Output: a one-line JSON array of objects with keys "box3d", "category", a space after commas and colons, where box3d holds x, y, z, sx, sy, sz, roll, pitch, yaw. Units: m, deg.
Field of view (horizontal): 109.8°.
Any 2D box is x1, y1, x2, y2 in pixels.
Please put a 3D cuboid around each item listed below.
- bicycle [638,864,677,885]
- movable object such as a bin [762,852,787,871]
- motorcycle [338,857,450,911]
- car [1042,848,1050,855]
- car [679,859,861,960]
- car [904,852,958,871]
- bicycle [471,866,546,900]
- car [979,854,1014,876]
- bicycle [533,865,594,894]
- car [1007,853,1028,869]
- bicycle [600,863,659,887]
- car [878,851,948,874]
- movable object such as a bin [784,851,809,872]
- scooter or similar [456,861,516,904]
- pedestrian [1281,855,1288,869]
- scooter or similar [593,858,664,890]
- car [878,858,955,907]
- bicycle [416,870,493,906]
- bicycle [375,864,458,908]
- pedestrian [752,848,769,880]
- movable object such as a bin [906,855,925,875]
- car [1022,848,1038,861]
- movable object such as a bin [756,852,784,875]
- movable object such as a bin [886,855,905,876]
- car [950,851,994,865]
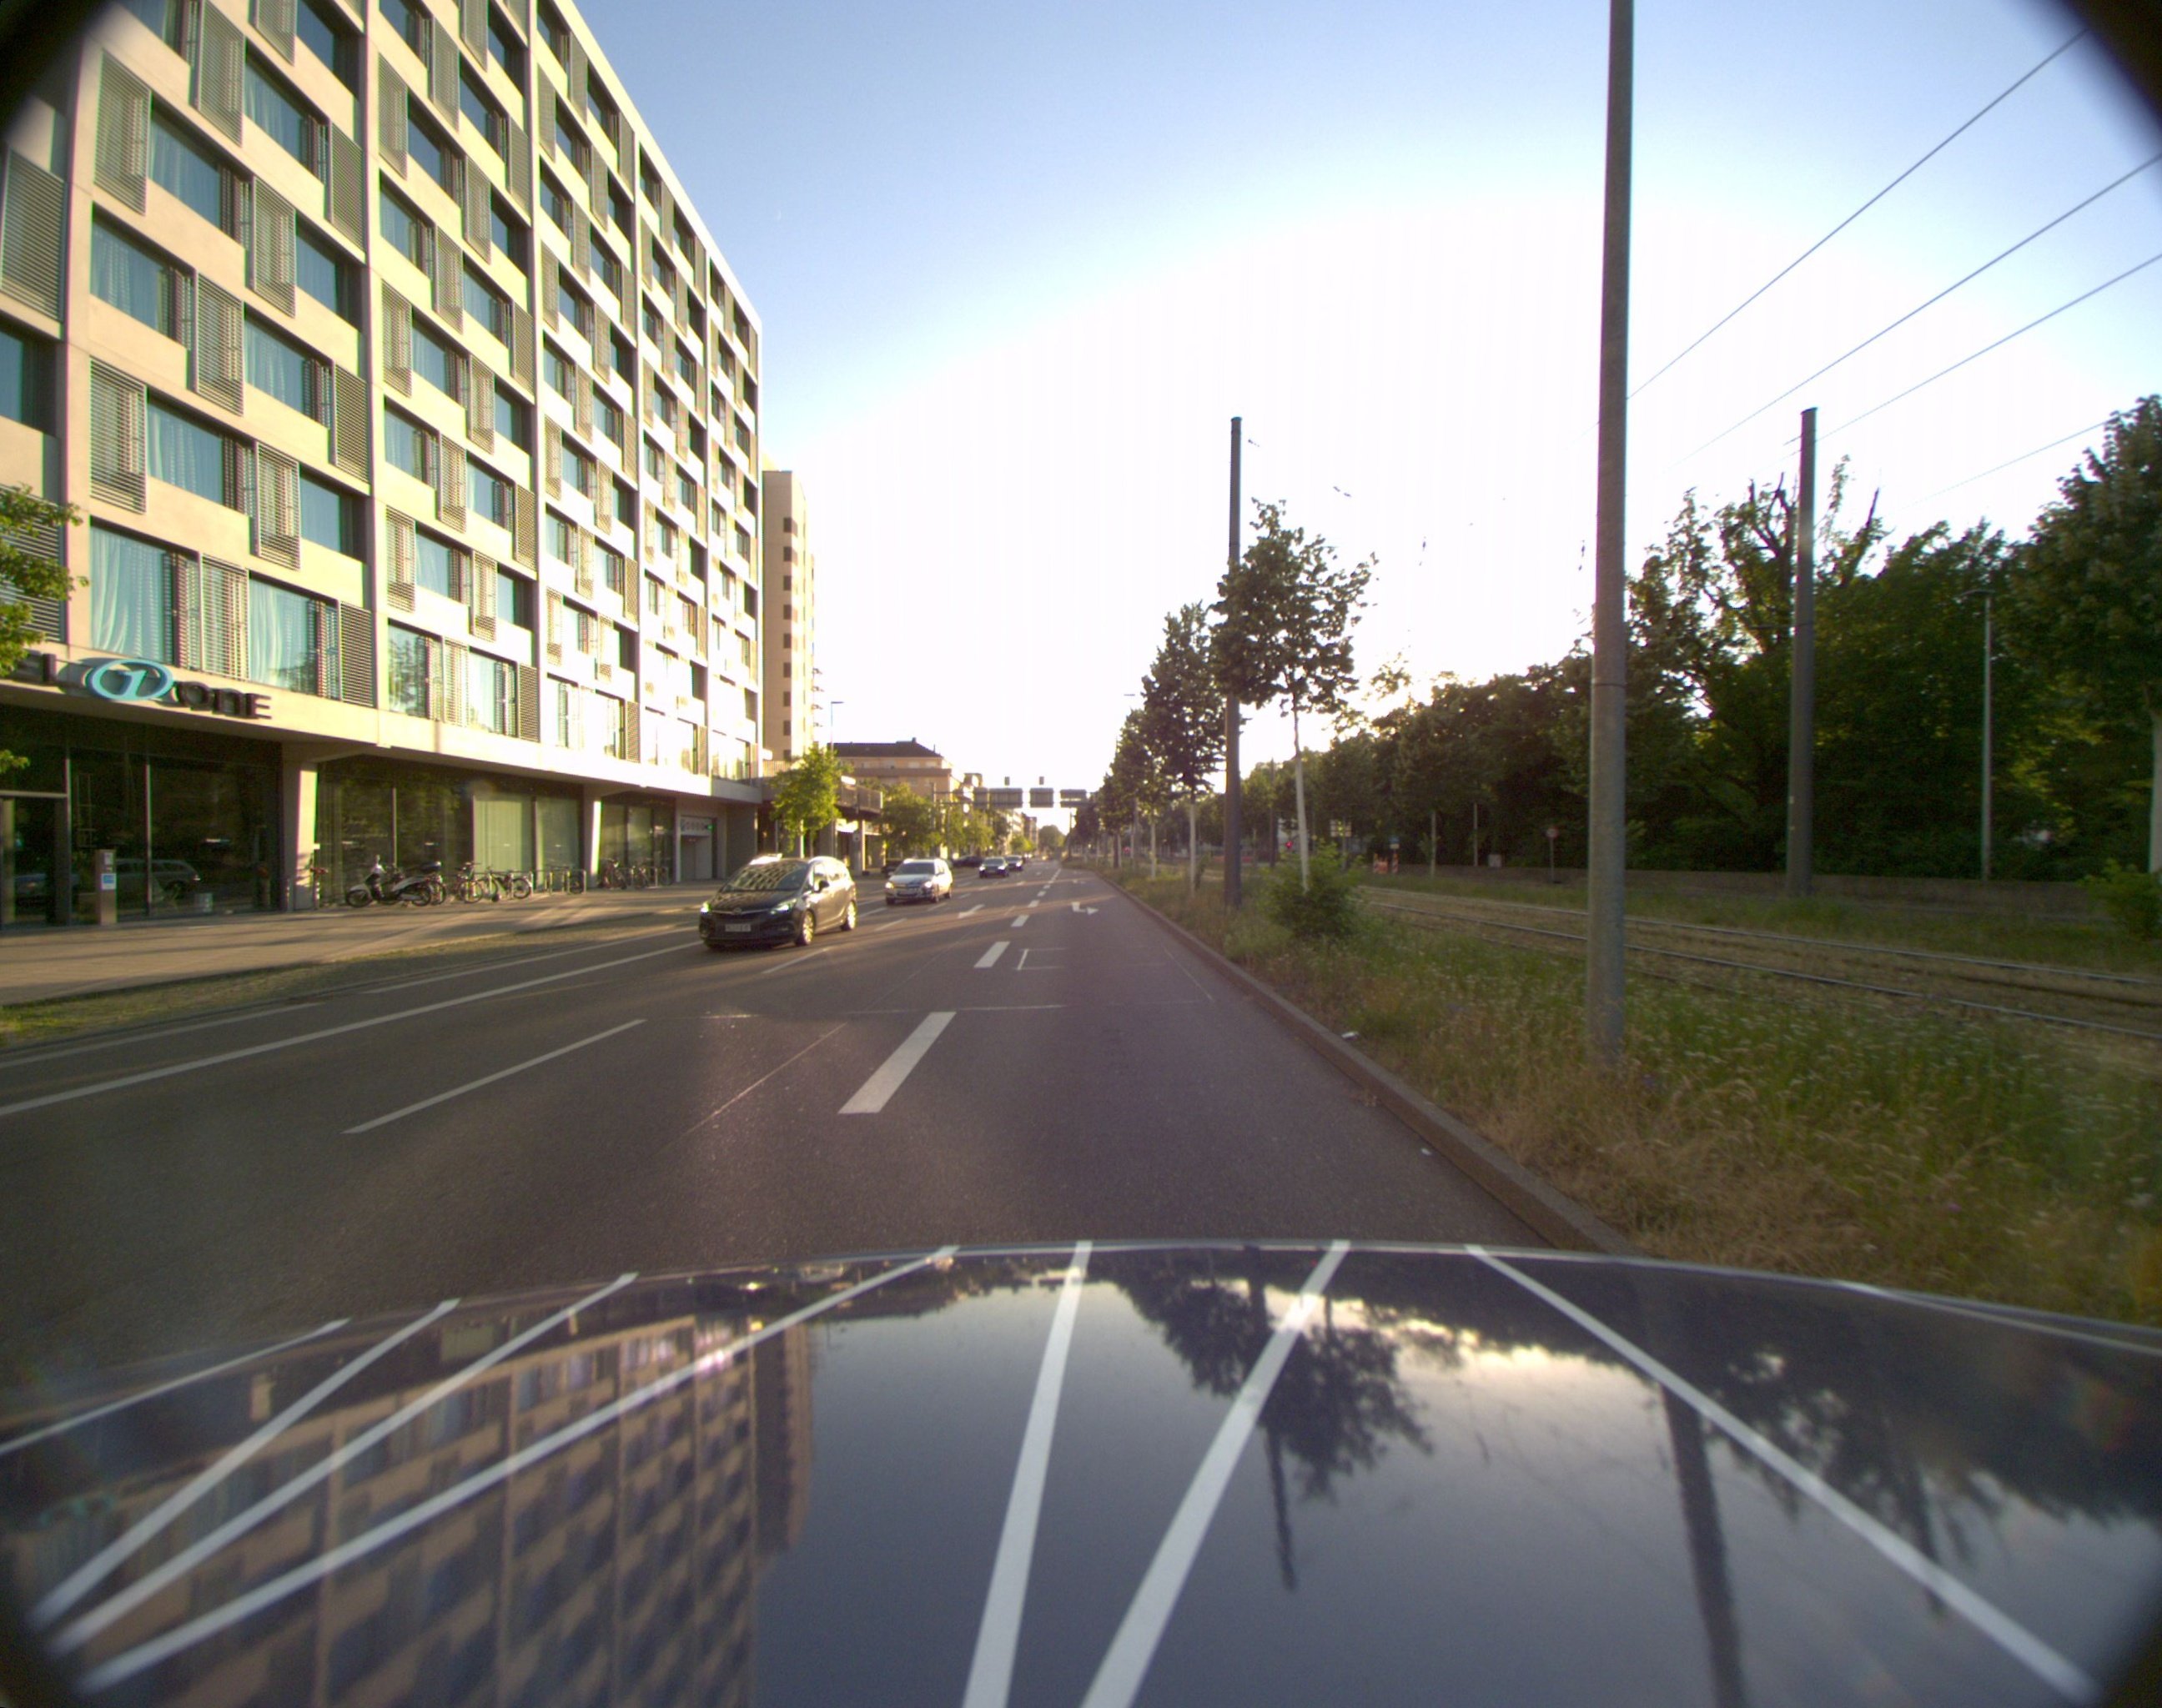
[{"box3d": [-18.511, 0.900, 33.239, 1.425, 0.886, 0.457, 0, 1, -2], "category": "bicycle"}, {"box3d": [-20.300, 0.483, 50.381, 1.185, 1.291, 1.304, 0, 0, -2], "category": "movable object such as a bin"}, {"box3d": [-18.224, 0.786, 20.207, 2.120, 1.378, 0.671, 1, 0, -15], "category": "motorcycle"}, {"box3d": [-8.892, -0.623, 192.254, 1.727, 1.910, 4.292, -2, 0, -5], "category": "car"}, {"box3d": [-5.841, 0.951, 14.915, 1.828, 1.589, 4.366, -2, 0, -2], "category": "car"}, {"box3d": [-12.376, 0.635, 62.728, 3.999, 1.408, 1.746, 2, 1, -39], "category": "car"}, {"box3d": [-18.132, 0.920, 24.083, 1.890, 1.004, 0.565, 2, 1, -3], "category": "bicycle"}, {"box3d": [-5.922, 0.746, 53.734, 1.915, 1.387, 4.276, -2, 0, 1], "category": "car"}, {"box3d": [-18.231, 0.896, 26.768, 1.704, 0.980, 0.550, 2, 0, -4], "category": "bicycle"}, {"box3d": [-5.953, 0.642, 71.075, 1.863, 1.387, 4.275, -2, 0, -5], "category": "car"}, {"box3d": [-18.839, 0.855, 31.722, 2.022, 0.952, 0.620, 1, 1, -7], "category": "bicycle"}, {"box3d": [-12.343, 0.636, 56.052, 4.679, 1.500, 1.933, 2, 1, -40], "category": "car"}, {"box3d": [-18.928, 0.471, 50.516, 1.185, 1.315, 1.266, 3, 0, -2], "category": "movable object such as a bin"}, {"box3d": [-17.709, 0.855, 22.623, 1.271, 1.226, 0.608, 2, 0, -5], "category": "scooter or similar"}, {"box3d": [23.467, 0.927, 87.660, 0.670, 1.597, 0.678, -2, -4, 13], "category": "pedestrian"}, {"box3d": [-17.943, 0.795, 30.149, 2.378, 1.176, 0.620, 1, 1, -2], "category": "scooter or similar"}, {"box3d": [-5.688, 0.938, 26.754, 1.833, 1.455, 4.302, -2, 0, -2], "category": "car"}, {"box3d": [-18.114, 0.975, 21.981, 1.704, 0.980, 0.550, 2, 0, -4], "category": "bicycle"}, {"box3d": [-18.409, 0.882, 21.087, 1.612, 1.148, 0.611, 2, 0, -13], "category": "bicycle"}, {"box3d": [-16.135, 0.501, 38.267, 0.578, 1.609, 0.643, 2, 1, -4], "category": "pedestrian"}, {"box3d": [-11.158, 0.763, 51.376, 1.088, 1.294, 1.360, 2, 0, -7], "category": "movable object such as a bin"}, {"box3d": [-6.825, 0.044, 102.117, 1.967, 1.696, 5.100, -2, 0, -2], "category": "car"}, {"box3d": [-18.848, 0.559, 46.072, 1.108, 1.322, 1.283, 2, 0, -2], "category": "movable object such as a bin"}, {"box3d": [-12.513, 0.748, 51.215, 1.017, 1.339, 1.160, 2, 0, -6], "category": "movable object such as a bin"}, {"box3d": [-12.115, 0.413, 84.614, 4.617, 1.445, 1.808, 2, 0, -42], "category": "car"}]
